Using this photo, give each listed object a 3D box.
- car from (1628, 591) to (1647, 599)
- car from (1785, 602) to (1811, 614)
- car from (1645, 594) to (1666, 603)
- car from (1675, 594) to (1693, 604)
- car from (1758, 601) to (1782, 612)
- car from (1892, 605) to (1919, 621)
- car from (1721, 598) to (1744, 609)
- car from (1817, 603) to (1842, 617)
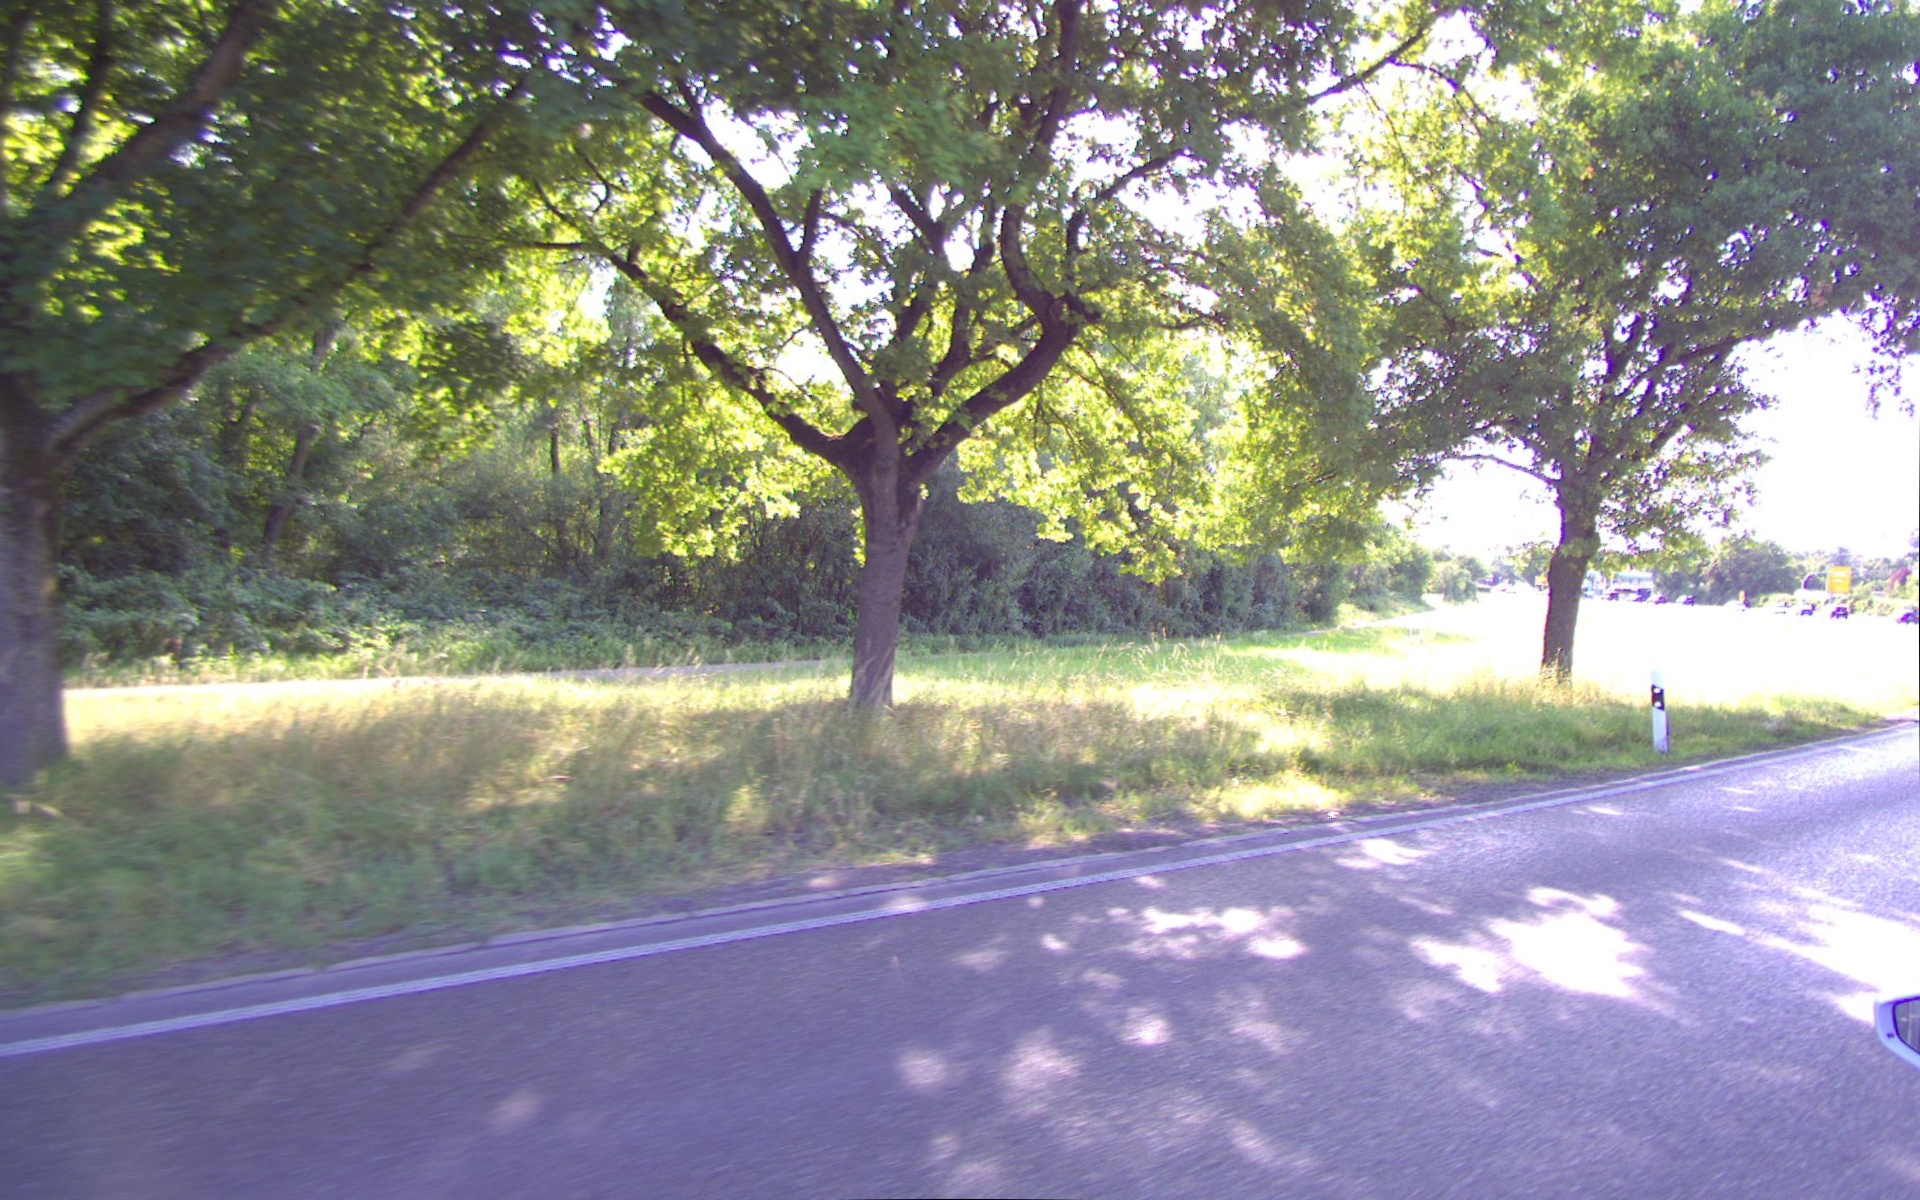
[{"bbox_3d":[132.765,-1.000,196.897,2.050,1.621,4.000,1,1,18],"label":"car"},{"bbox_3d":[114.940,1.045,137.787,1.651,1.579,3.871,1,0,22],"label":"car"},{"bbox_3d":[129.659,-0.256,187.235,2.050,1.621,4.000,1,1,18],"label":"car"},{"bbox_3d":[131.391,-0.144,182.322,1.700,1.678,3.870,1,0,24],"label":"car"},{"bbox_3d":[118.052,0.940,146.387,1.651,1.579,3.871,1,0,22],"label":"car"},{"bbox_3d":[100.619,1.381,106.863,1.498,1.678,3.862,1,0,33],"label":"car"},{"bbox_3d":[122.878,0.587,159.884,1.944,1.678,3.871,1,0,23],"label":"car"},{"bbox_3d":[110.548,1.269,127.718,1.496,1.678,3.868,1,0,27],"label":"car"}]
